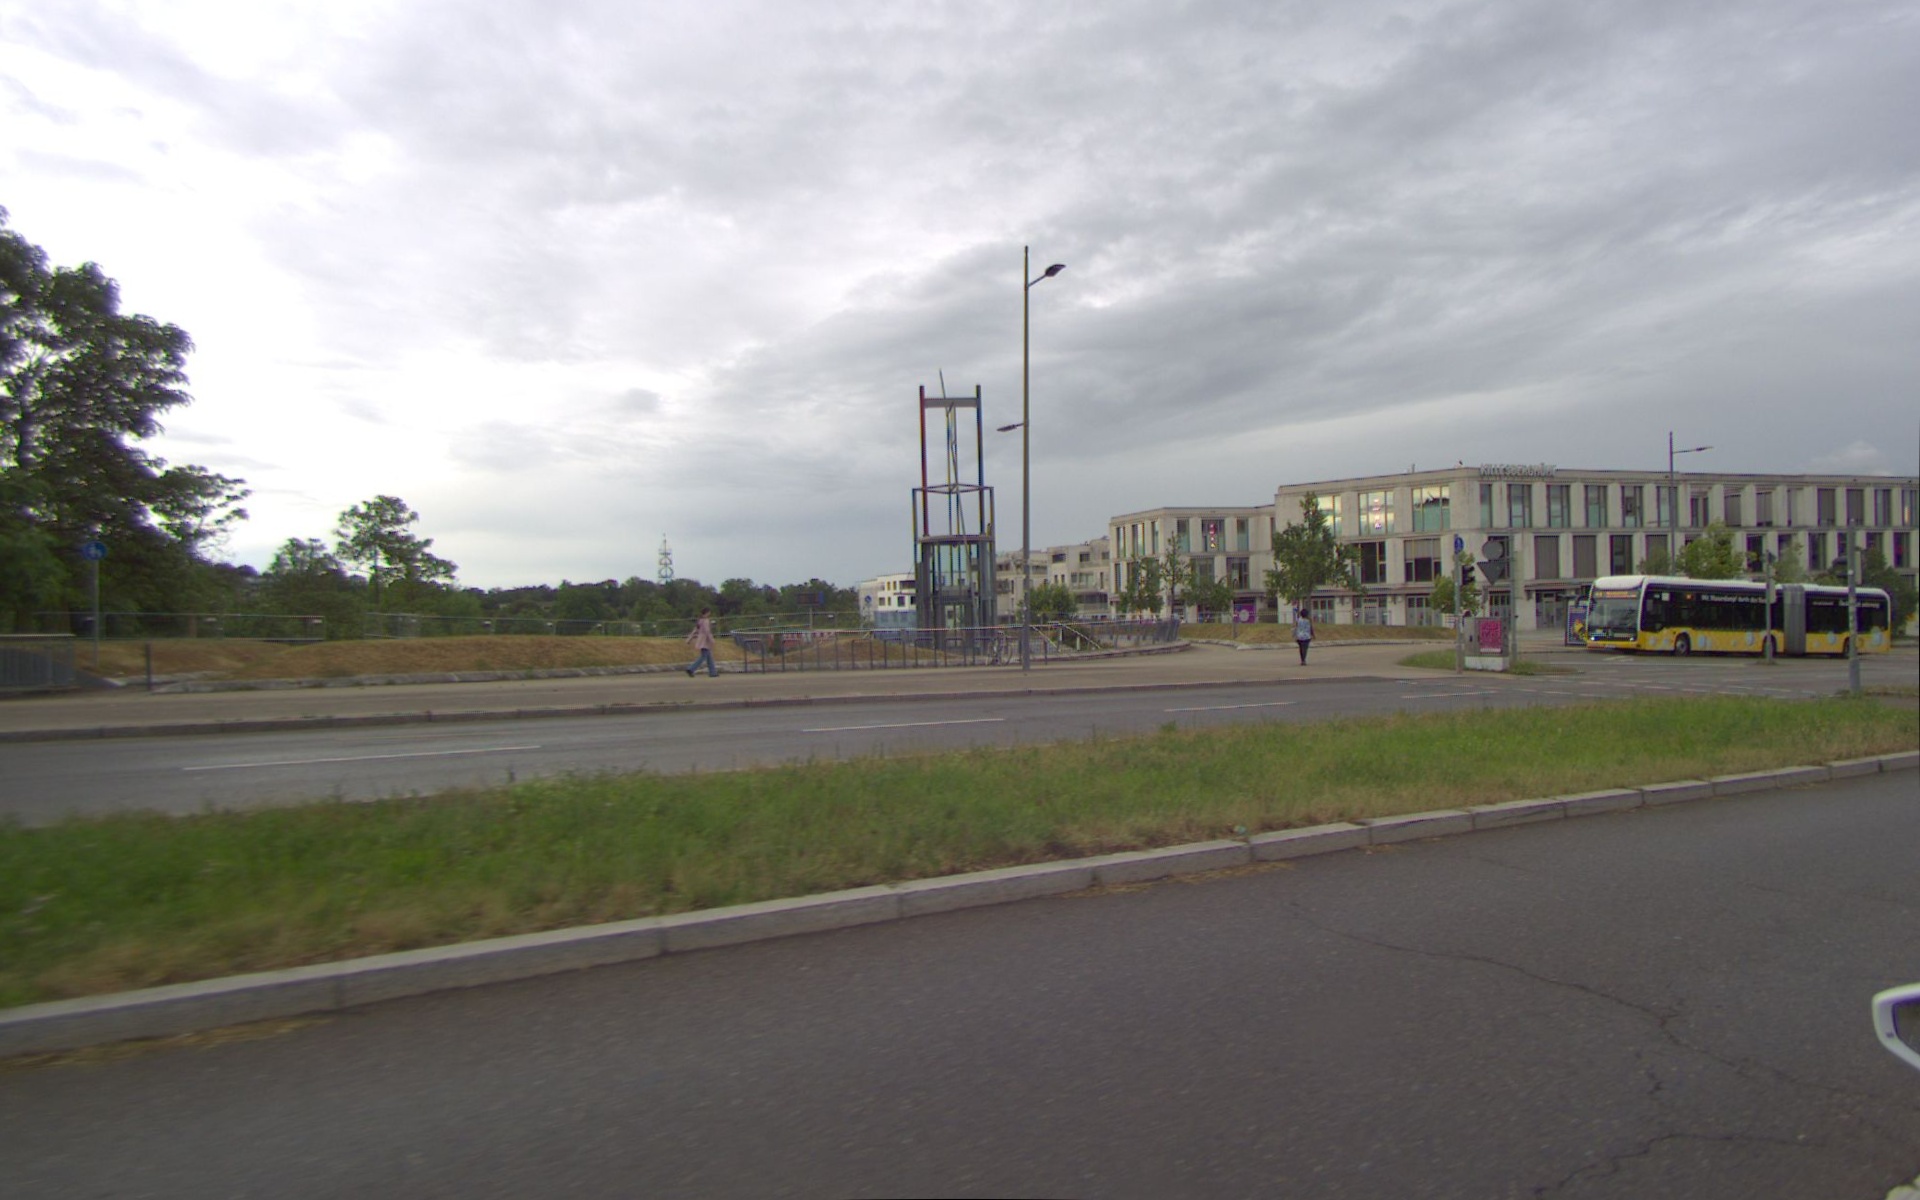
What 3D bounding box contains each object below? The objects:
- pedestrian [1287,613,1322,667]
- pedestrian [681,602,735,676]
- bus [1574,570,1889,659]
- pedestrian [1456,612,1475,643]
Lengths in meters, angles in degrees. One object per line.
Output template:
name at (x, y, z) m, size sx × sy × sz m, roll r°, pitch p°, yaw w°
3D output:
pedestrian at (10.561, 1.224, 30.768) m, size 0.823 × 1.594 × 0.717 m, roll 0°, pitch -2°, yaw 37°
pedestrian at (-5.746, 0.885, 22.872) m, size 0.926 × 1.642 × 0.808 m, roll 3°, pitch -2°, yaw -36°
bus at (35.944, 0.835, 46.378) m, size 17.959 × 3.401 × 2.780 m, roll 2°, pitch -2°, yaw -22°
pedestrian at (25.413, 1.371, 50.527) m, size 0.675 × 1.544 × 0.715 m, roll 0°, pitch -2°, yaw 43°
